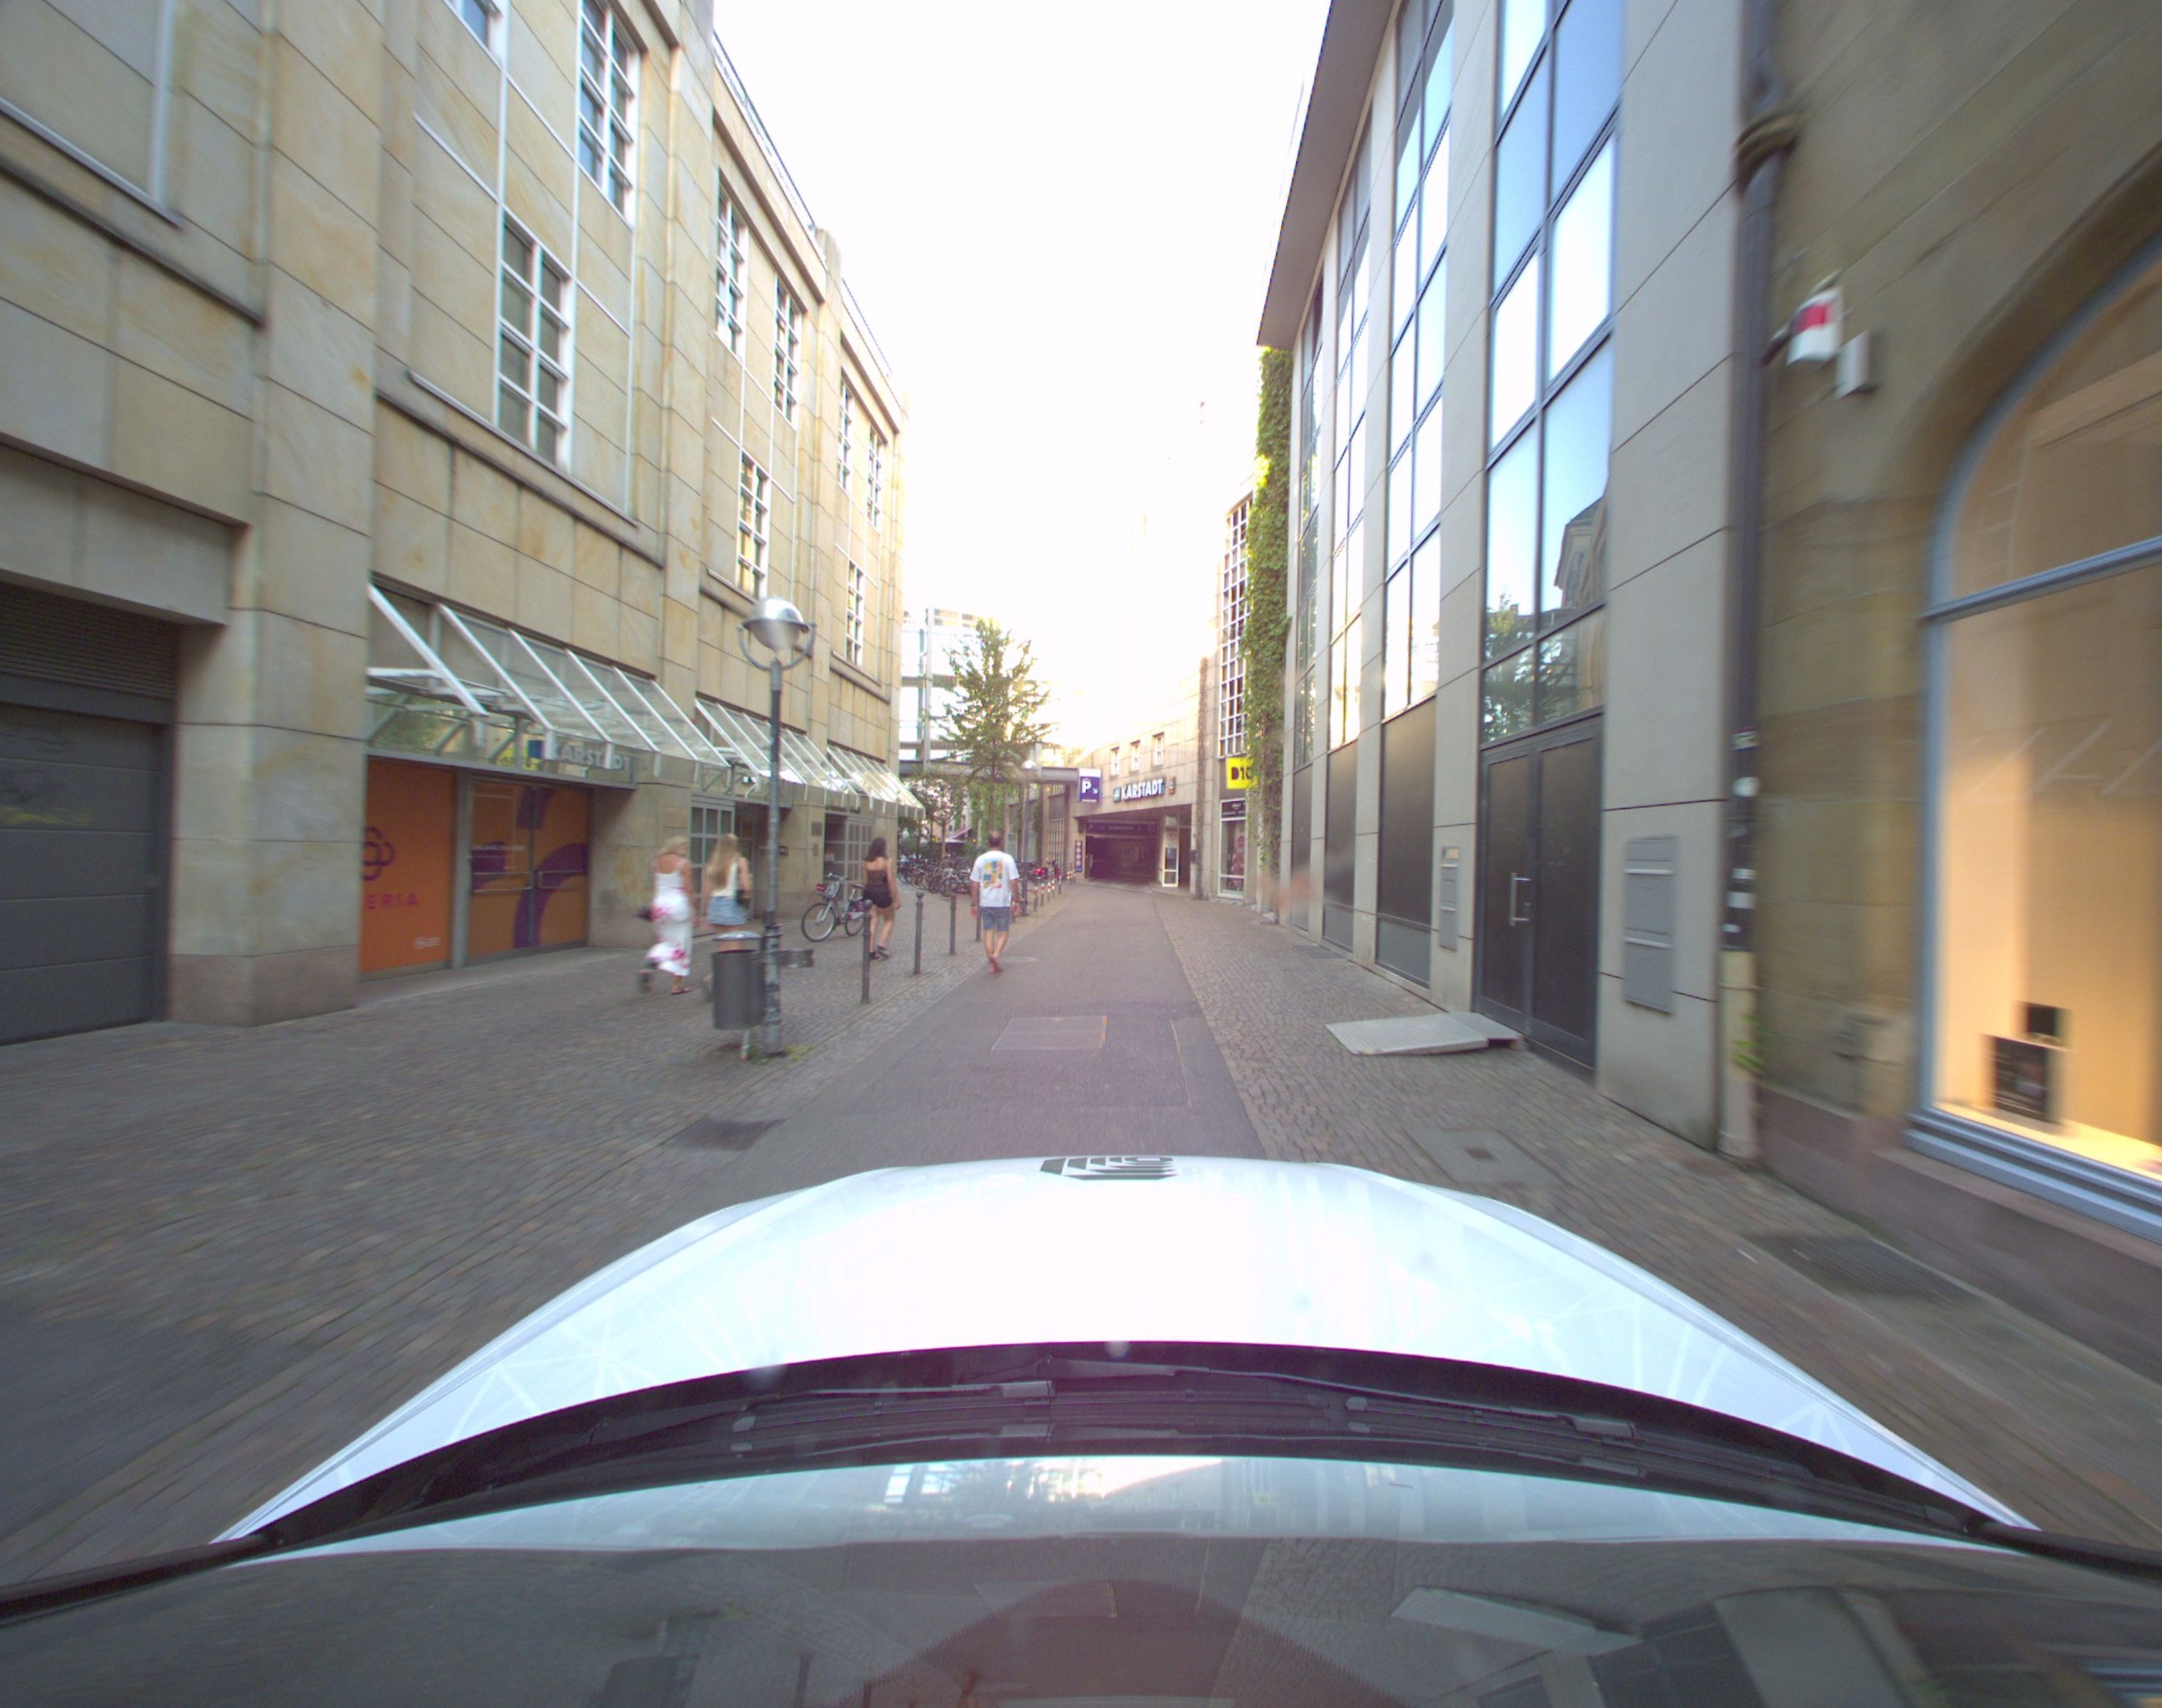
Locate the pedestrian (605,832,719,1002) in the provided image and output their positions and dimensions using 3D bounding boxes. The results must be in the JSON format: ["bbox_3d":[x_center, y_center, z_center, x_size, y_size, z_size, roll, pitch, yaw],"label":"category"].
[{"bbox_3d":[-4.332,0.620,8.473,0.672,1.664,0.861,1,0,4],"label":"pedestrian"}]

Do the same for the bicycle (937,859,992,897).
[{"bbox_3d":[-3.905,0.788,27.277,1.772,1.230,0.530,0,0,-20],"label":"bicycle"}]

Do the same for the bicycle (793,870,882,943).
[{"bbox_3d":[-4.145,0.858,14.008,0.517,1.138,1.773,1,0,19],"label":"bicycle"}]

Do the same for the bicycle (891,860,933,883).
[{"bbox_3d":[-7.722,0.788,37.307,1.830,1.043,0.530,0,0,-20],"label":"bicycle"}]

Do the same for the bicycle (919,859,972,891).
[{"bbox_3d":[-5.073,0.770,30.451,1.878,1.177,0.530,0,0,-20],"label":"bicycle"}]

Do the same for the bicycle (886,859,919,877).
[{"bbox_3d":[-10.068,0.796,45.961,1.785,1.019,0.478,0,0,-20],"label":"bicycle"}]

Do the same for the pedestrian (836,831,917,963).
[{"bbox_3d":[-2.896,0.589,11.627,0.780,1.795,0.974,1,0,8],"label":"pedestrian"}]

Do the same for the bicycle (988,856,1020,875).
[{"bbox_3d":[-4.498,0.676,47.537,1.778,1.114,0.539,1,0,-18],"label":"bicycle"}]

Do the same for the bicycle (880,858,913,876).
[{"bbox_3d":[-10.599,0.769,46.819,1.785,1.019,0.478,0,0,-20],"label":"bicycle"}]

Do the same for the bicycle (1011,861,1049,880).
[{"bbox_3d":[-2.583,0.834,41.032,1.853,0.982,0.461,1,0,-18],"label":"bicycle"}]

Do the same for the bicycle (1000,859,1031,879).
[{"bbox_3d":[-3.433,0.805,42.868,1.543,1.049,0.572,1,0,-18],"label":"bicycle"}]

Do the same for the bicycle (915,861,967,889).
[{"bbox_3d":[-5.325,0.799,30.991,1.900,1.052,0.530,0,0,-20],"label":"bicycle"}]

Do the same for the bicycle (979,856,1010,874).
[{"bbox_3d":[-5.289,0.672,49.803,1.778,1.114,0.539,1,0,-18],"label":"bicycle"}]

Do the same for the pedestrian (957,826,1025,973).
[{"bbox_3d":[-1.152,0.563,10.581,0.739,1.822,0.879,1,0,2],"label":"pedestrian"}]

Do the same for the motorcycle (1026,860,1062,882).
[{"bbox_3d":[-1.796,0.800,39.374,1.667,1.050,0.461,1,0,-18],"label":"motorcycle"}]

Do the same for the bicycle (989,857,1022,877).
[{"bbox_3d":[-4.289,0.746,46.453,1.778,1.114,0.539,1,0,-18],"label":"bicycle"}]

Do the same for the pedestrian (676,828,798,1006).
[{"bbox_3d":[-3.553,0.616,8.491,0.803,1.729,0.949,1,0,1],"label":"pedestrian"}]

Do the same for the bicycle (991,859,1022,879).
[{"bbox_3d":[-4.013,0.819,43.869,1.543,1.049,0.572,1,0,-18],"label":"bicycle"}]

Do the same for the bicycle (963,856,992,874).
[{"bbox_3d":[-6.617,0.726,52.113,1.778,1.114,0.539,1,0,-18],"label":"bicycle"}]

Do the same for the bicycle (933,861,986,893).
[{"bbox_3d":[-4.395,0.836,29.469,1.842,1.122,0.530,0,0,-20],"label":"bicycle"}]

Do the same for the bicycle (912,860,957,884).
[{"bbox_3d":[-6.371,0.773,35.495,1.883,1.043,0.530,0,0,-20],"label":"bicycle"}]

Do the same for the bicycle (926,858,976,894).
[{"bbox_3d":[-4.554,0.753,28.583,1.659,1.230,0.530,0,0,-20],"label":"bicycle"}]

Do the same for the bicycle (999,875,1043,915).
[{"bbox_3d":[-1.508,1.019,20.786,0.489,0.939,1.667,2,0,18],"label":"bicycle"}]

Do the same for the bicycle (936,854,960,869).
[{"bbox_3d":[-10.301,0.592,63.236,1.778,1.190,0.583,1,0,-18],"label":"bicycle"}]

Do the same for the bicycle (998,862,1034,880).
[{"bbox_3d":[-3.336,0.870,41.912,1.778,0.904,0.461,1,0,-18],"label":"bicycle"}]

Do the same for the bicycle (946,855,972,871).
[{"bbox_3d":[-8.685,0.652,57.975,1.776,1.114,0.540,1,0,-15],"label":"bicycle"}]

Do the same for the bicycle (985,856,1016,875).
[{"bbox_3d":[-4.798,0.694,48.752,1.778,1.114,0.539,1,0,-18],"label":"bicycle"}]

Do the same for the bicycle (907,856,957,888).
[{"bbox_3d":[-5.808,0.708,31.684,1.839,1.225,0.530,0,0,-20],"label":"bicycle"}]

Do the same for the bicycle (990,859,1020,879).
[{"bbox_3d":[-4.224,0.838,45.284,1.543,1.049,0.572,1,0,-18],"label":"bicycle"}]
